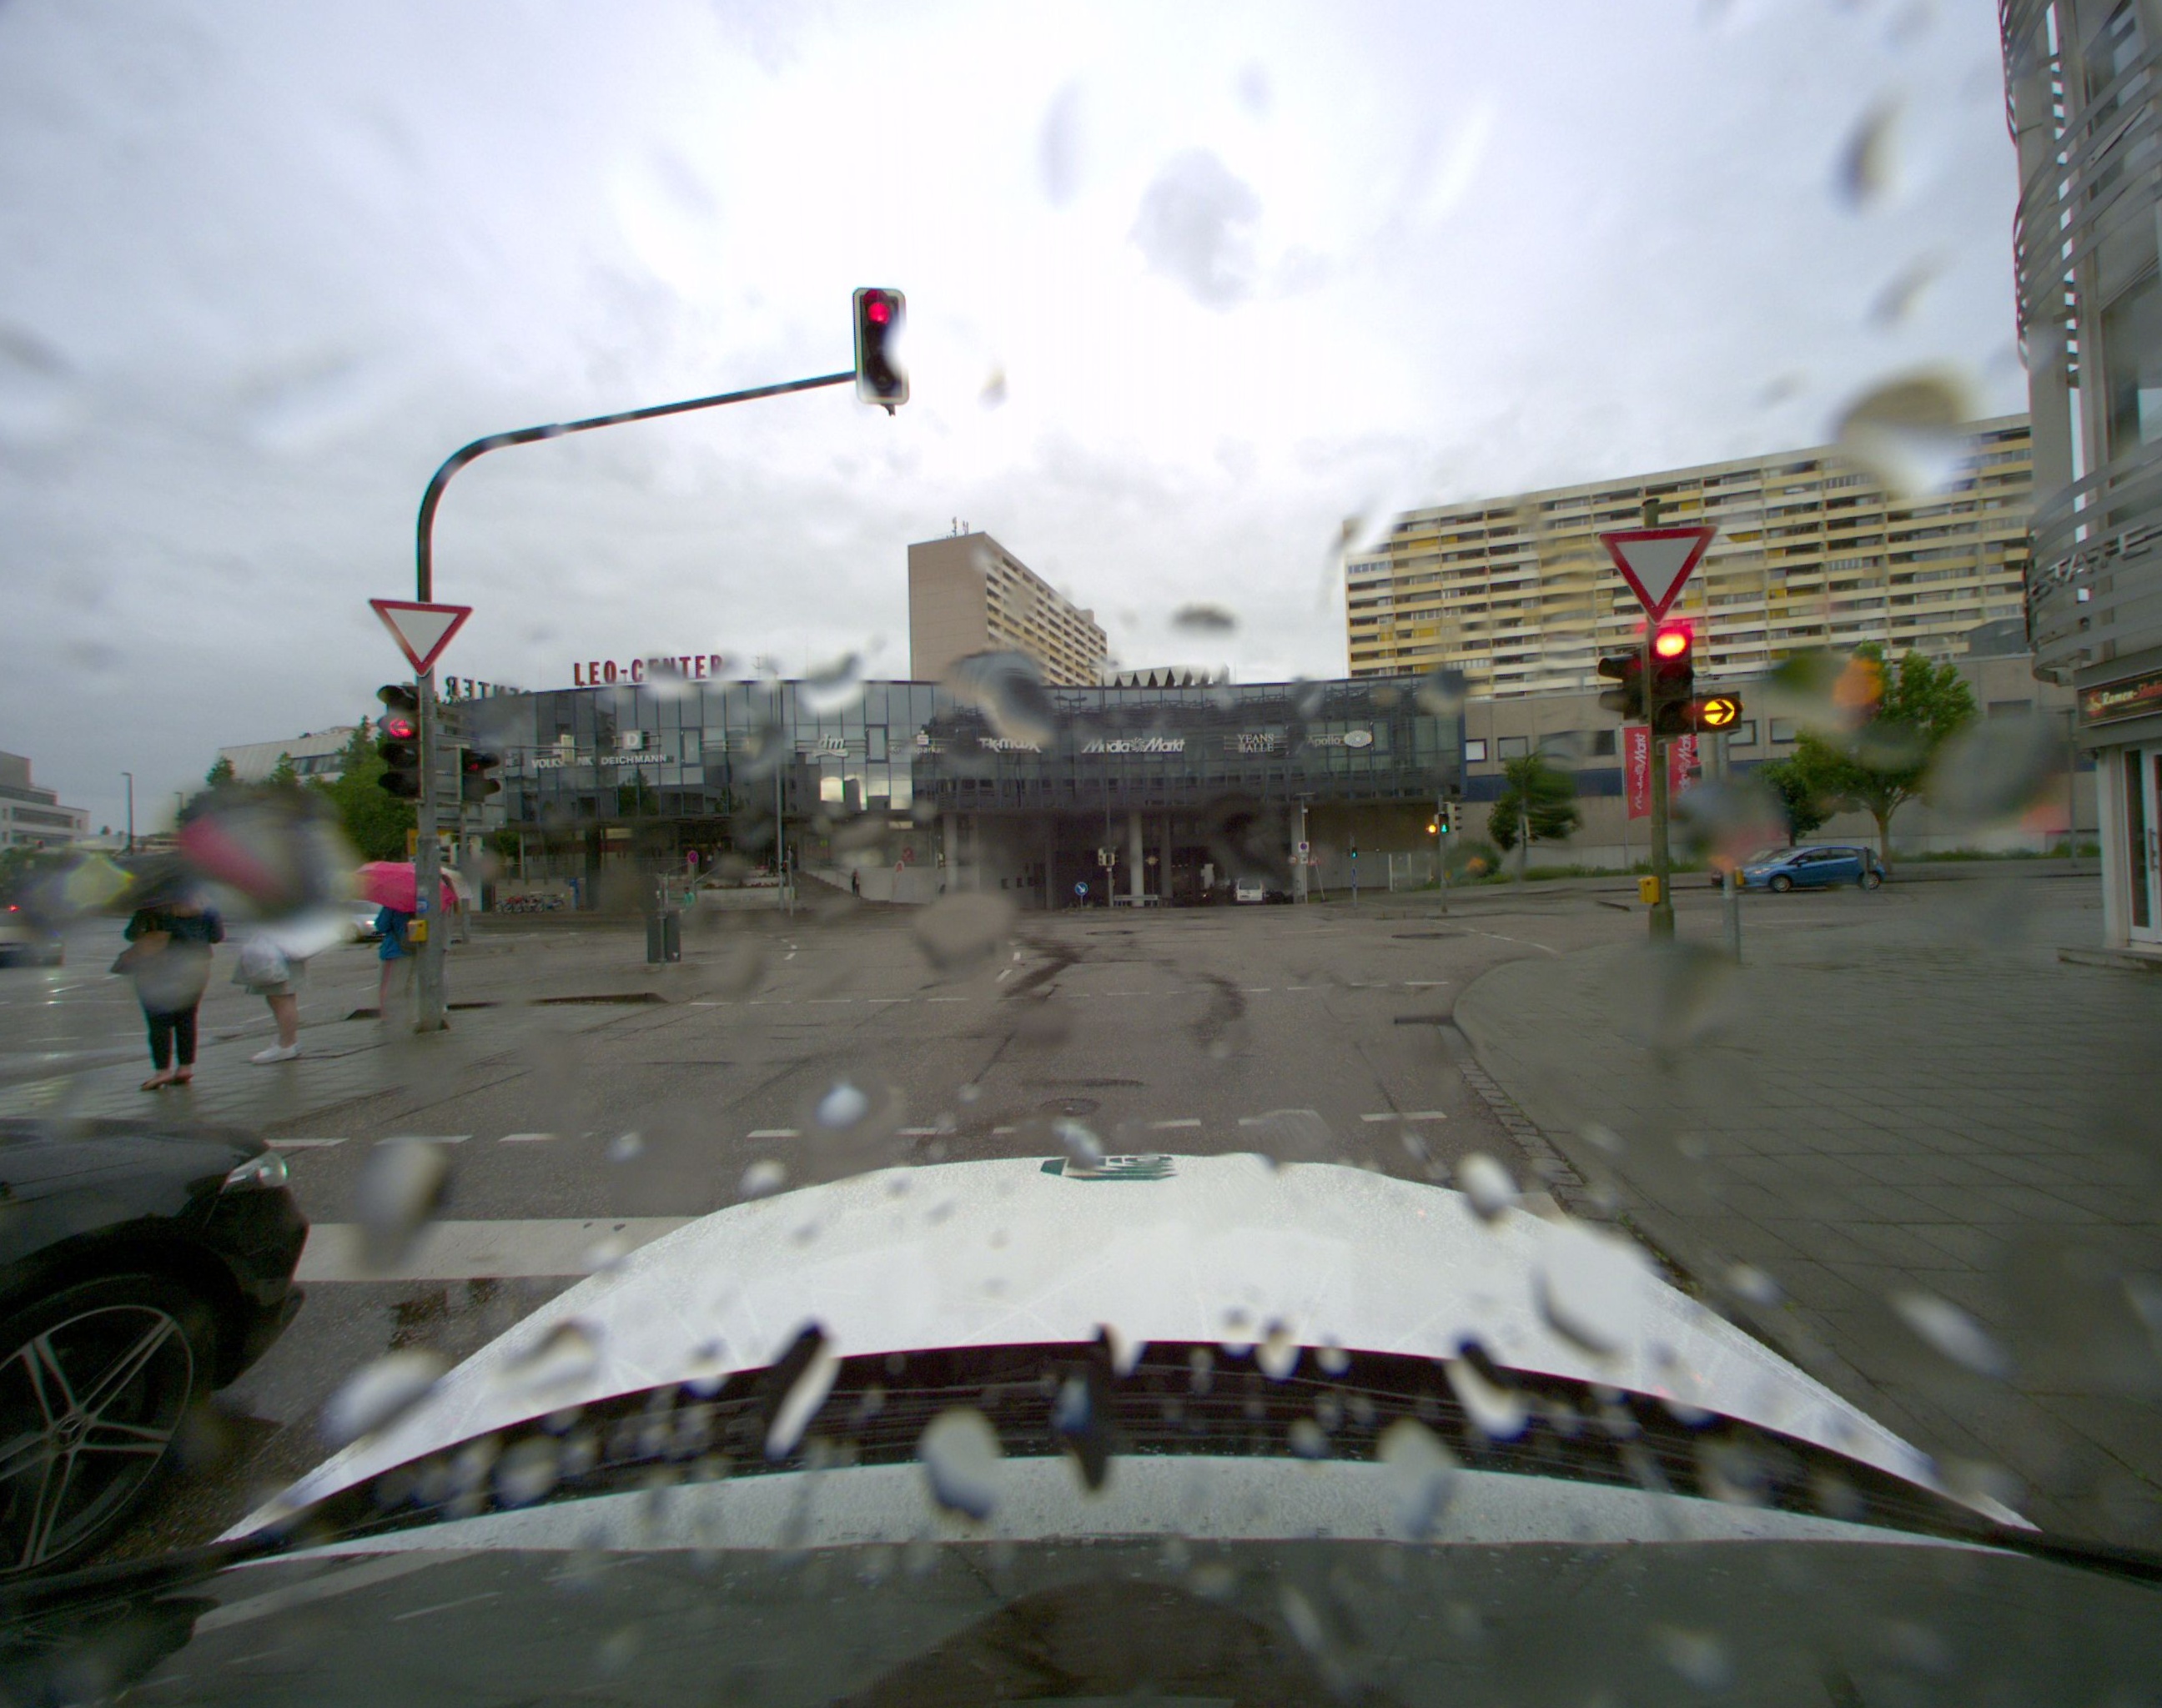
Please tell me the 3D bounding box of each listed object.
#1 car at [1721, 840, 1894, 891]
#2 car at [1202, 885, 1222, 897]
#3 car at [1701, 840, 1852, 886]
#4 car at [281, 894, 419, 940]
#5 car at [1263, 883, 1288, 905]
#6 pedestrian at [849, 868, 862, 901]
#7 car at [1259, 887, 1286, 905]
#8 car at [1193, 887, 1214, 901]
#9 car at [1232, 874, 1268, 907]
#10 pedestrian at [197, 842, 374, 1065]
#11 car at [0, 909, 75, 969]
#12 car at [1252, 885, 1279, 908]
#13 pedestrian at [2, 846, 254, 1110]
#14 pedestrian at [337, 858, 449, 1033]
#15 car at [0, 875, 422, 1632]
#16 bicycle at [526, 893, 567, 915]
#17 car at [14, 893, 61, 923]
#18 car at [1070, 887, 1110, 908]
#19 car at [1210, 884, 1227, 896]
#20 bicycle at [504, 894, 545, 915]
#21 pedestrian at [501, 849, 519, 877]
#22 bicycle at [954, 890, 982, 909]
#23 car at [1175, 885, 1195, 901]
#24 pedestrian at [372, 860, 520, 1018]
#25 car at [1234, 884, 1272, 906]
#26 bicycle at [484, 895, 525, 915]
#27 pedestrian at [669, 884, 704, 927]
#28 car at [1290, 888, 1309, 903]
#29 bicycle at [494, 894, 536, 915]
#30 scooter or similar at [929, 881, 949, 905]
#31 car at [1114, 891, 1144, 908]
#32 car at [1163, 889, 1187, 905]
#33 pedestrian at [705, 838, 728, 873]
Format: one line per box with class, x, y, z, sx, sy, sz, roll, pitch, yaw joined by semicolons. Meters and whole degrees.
car;23.406;0.391;26.379;3.819;1.397;1.684;-3;-2;10
car;17.605;4.926;109.198;1.978;1.464;4.018;-3;-2;17
car;24.853;0.326;29.230;3.660;1.395;1.750;-3;-2;11
car;-25.632;2.197;28.590;3.949;1.441;1.754;-2;-1;16
car;16.887;3.436;70.488;1.777;1.771;4.017;-3;-2;17
pedestrian;-13.107;1.784;47.367;0.655;1.908;0.593;-1;-1;-6
car;15.504;3.425;65.773;1.765;1.400;4.017;-3;-4;17
car;15.255;4.971;101.612;1.978;1.664;4.018;-1;-1;17
car;10.107;2.154;48.505;1.912;1.798;4.310;-2;-3;13
pedestrian;-6.875;0.795;7.041;1.123;1.744;0.865;-3;-1;34
car;-28.252;2.191;21.050;5.079;1.414;2.136;-3;-2;31
car;13.791;3.144;60.715;1.620;1.612;4.279;-3;-4;16
pedestrian;-6.978;0.839;6.037;0.956;1.736;0.829;-2;-2;-28
pedestrian;-7.145;0.901;8.455;0.665;1.685;0.811;-4;-2;45
car;-2.999;0.825;0.607;1.657;1.481;4.094;0;0;0
bicycle;-30.092;2.814;45.894;0.625;1.023;1.864;-3;1;20
car;-75.160;3.851;58.672;4.085;1.896;2.062;-1;-1;38
car;0.735;3.345;62.566;1.877;1.470;4.044;-2;-5;18
car;19.320;4.999;114.241;1.979;1.464;4.016;-3;-2;15
bicycle;-31.680;2.871;46.372;0.640;1.042;1.865;-3;1;20
pedestrian;-35.142;0.546;50.144;0.592;1.714;0.658;-1;-1;25
bicycle;-6.781;2.744;48.922;1.591;1.018;0.448;5;-3;-29
car;12.260;4.521;95.901;1.823;1.728;4.014;-2;-1;13
pedestrian;-7.224;0.930;9.318;0.932;1.677;0.917;-2;-1;1
car;11.907;2.855;56.139;1.742;1.464;3.963;-3;-5;23
bicycle;-33.076;2.909;46.754;0.529;0.951;1.865;-1;2;23
pedestrian;-15.553;2.038;32.113;0.940;1.623;0.814;-3;-1;25
car;24.277;4.564;90.415;1.874;1.491;3.856;-1;-1;16
bicycle;-32.390;2.883;46.616;0.621;1.033;1.865;-3;1;20
scooter or similar;-8.473;2.329;48.530;1.167;1.373;0.487;0;-1;-13
car;4.428;4.126;74.421;1.756;1.464;3.892;-3;-4;17
car;10.517;4.744;91.135;1.899;1.588;3.957;-3;-2;17
pedestrian;-21.128;0.095;47.216;0.827;2.014;0.952;0;-1;1
